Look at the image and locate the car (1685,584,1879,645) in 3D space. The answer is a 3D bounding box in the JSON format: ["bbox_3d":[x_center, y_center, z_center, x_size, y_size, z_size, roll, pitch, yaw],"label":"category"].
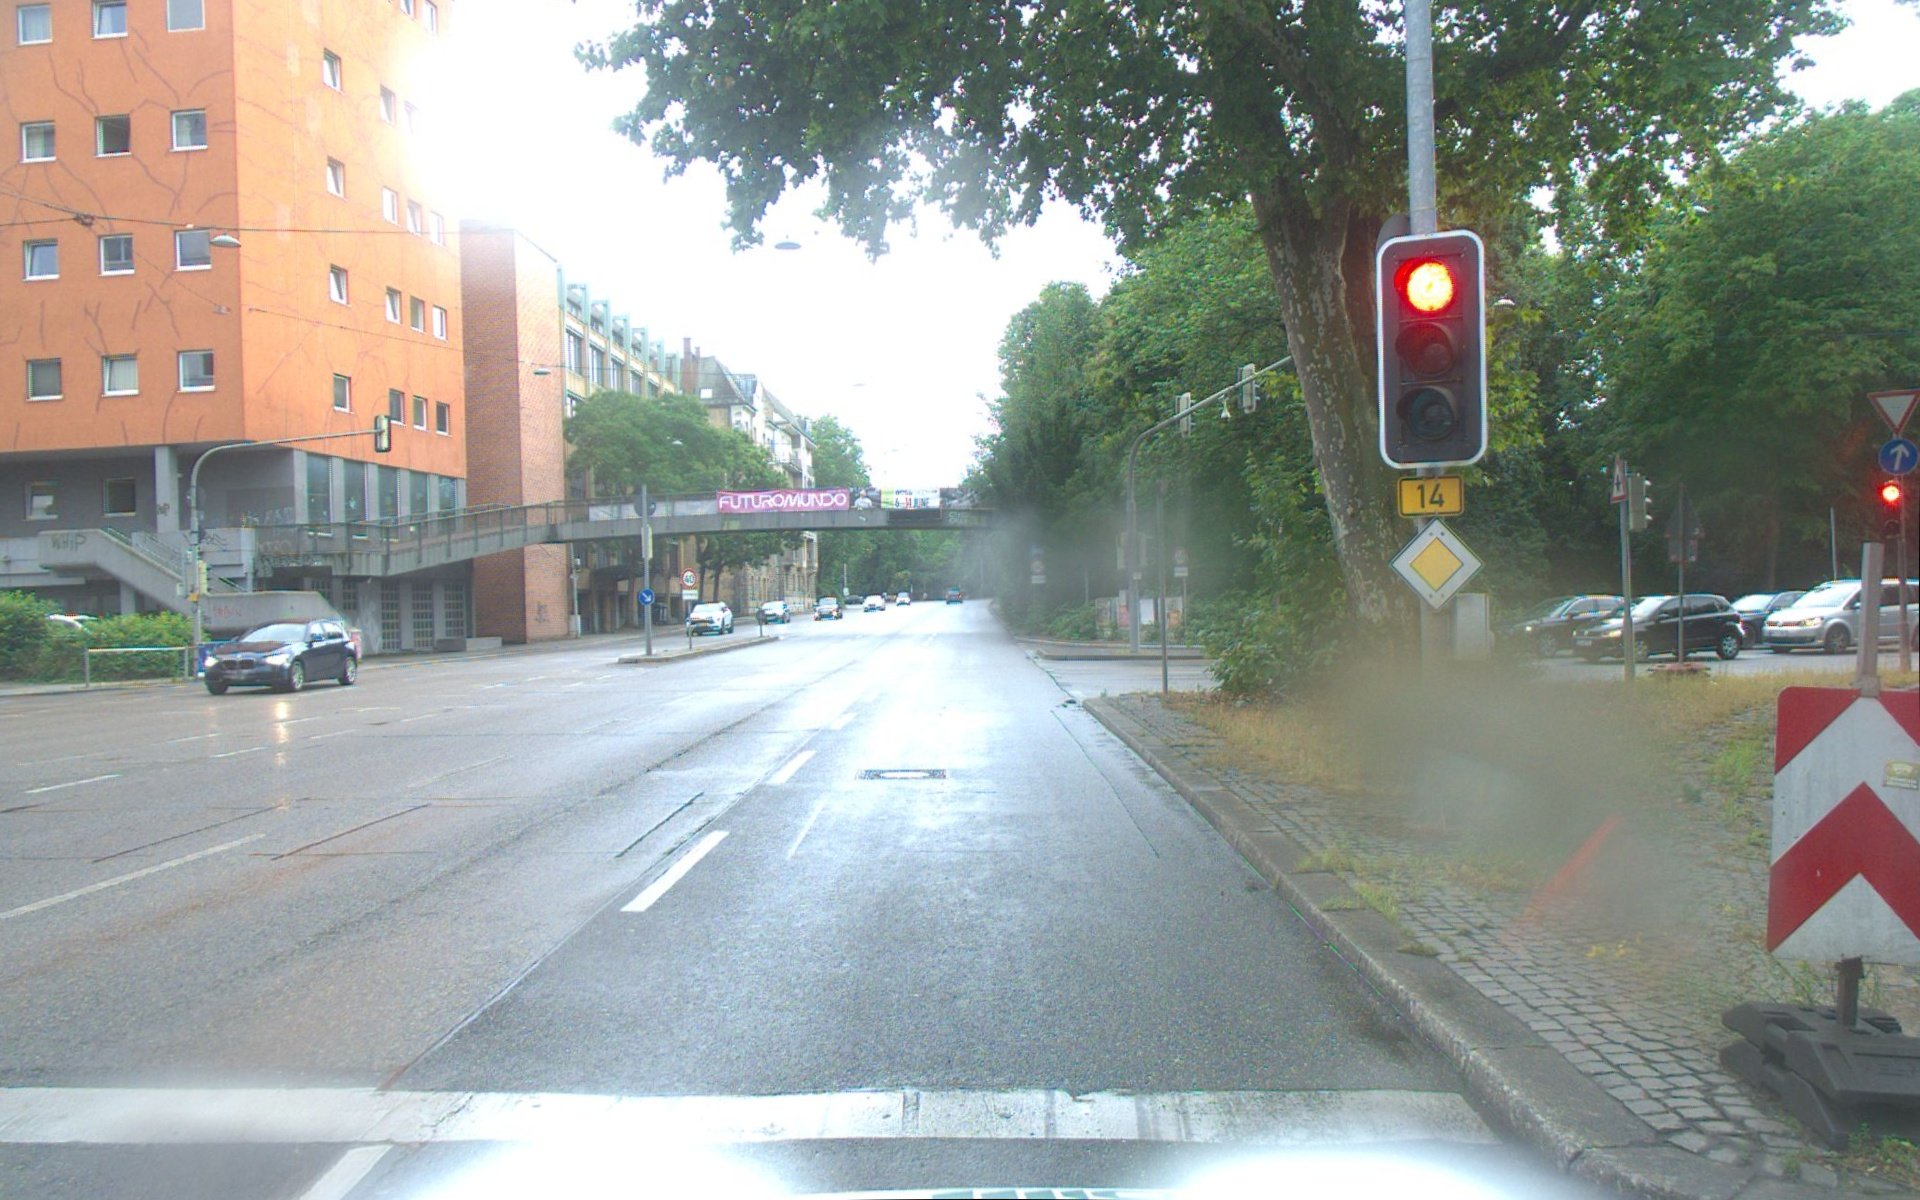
[{"bbox_3d":[20.819,0.371,41.923,4.361,1.427,1.821,1,0,-17],"label":"car"}]

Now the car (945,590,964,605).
[{"bbox_3d":[-0.671,-0.284,186.822,1.964,1.672,4.374,-1,0,-2],"label":"car"}]

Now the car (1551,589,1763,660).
[{"bbox_3d":[15.372,0.541,36.515,4.119,1.486,1.785,1,0,-17],"label":"car"}]

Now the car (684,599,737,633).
[{"bbox_3d":[-12.658,0.816,84.009,1.850,1.638,4.457,-1,0,2],"label":"car"}]

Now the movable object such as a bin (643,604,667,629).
[{"bbox_3d":[-19.688,1.048,106.804,1.256,1.545,1.273,-1,0,1],"label":"movable object such as a bin"}]

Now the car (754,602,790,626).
[{"bbox_3d":[-12.194,0.913,107.650,1.673,1.490,4.042,-2,0,2],"label":"car"}]

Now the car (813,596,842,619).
[{"bbox_3d":[-9.072,0.503,113.483,1.648,1.461,3.862,-2,0,0],"label":"car"}]

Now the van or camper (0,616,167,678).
[{"bbox_3d":[-25.771,1.372,48.720,3.902,1.656,1.915,-1,0,5],"label":"van or camper"}]

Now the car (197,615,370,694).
[{"bbox_3d":[-13.731,1.067,33.840,1.651,1.444,4.215,-2,0,2],"label":"car"}]

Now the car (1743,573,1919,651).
[{"bbox_3d":[20.613,0.295,38.510,4.129,1.709,1.898,1,0,-17],"label":"car"}]

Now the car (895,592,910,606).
[{"bbox_3d":[-6.758,-0.140,195.195,1.568,1.525,3.712,-3,0,1],"label":"car"}]

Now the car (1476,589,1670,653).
[{"bbox_3d":[14.909,0.512,40.280,4.131,1.466,1.941,1,0,-17],"label":"car"}]

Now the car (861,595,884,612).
[{"bbox_3d":[-7.848,0.285,148.591,1.793,1.418,4.405,-3,0,1],"label":"car"}]
